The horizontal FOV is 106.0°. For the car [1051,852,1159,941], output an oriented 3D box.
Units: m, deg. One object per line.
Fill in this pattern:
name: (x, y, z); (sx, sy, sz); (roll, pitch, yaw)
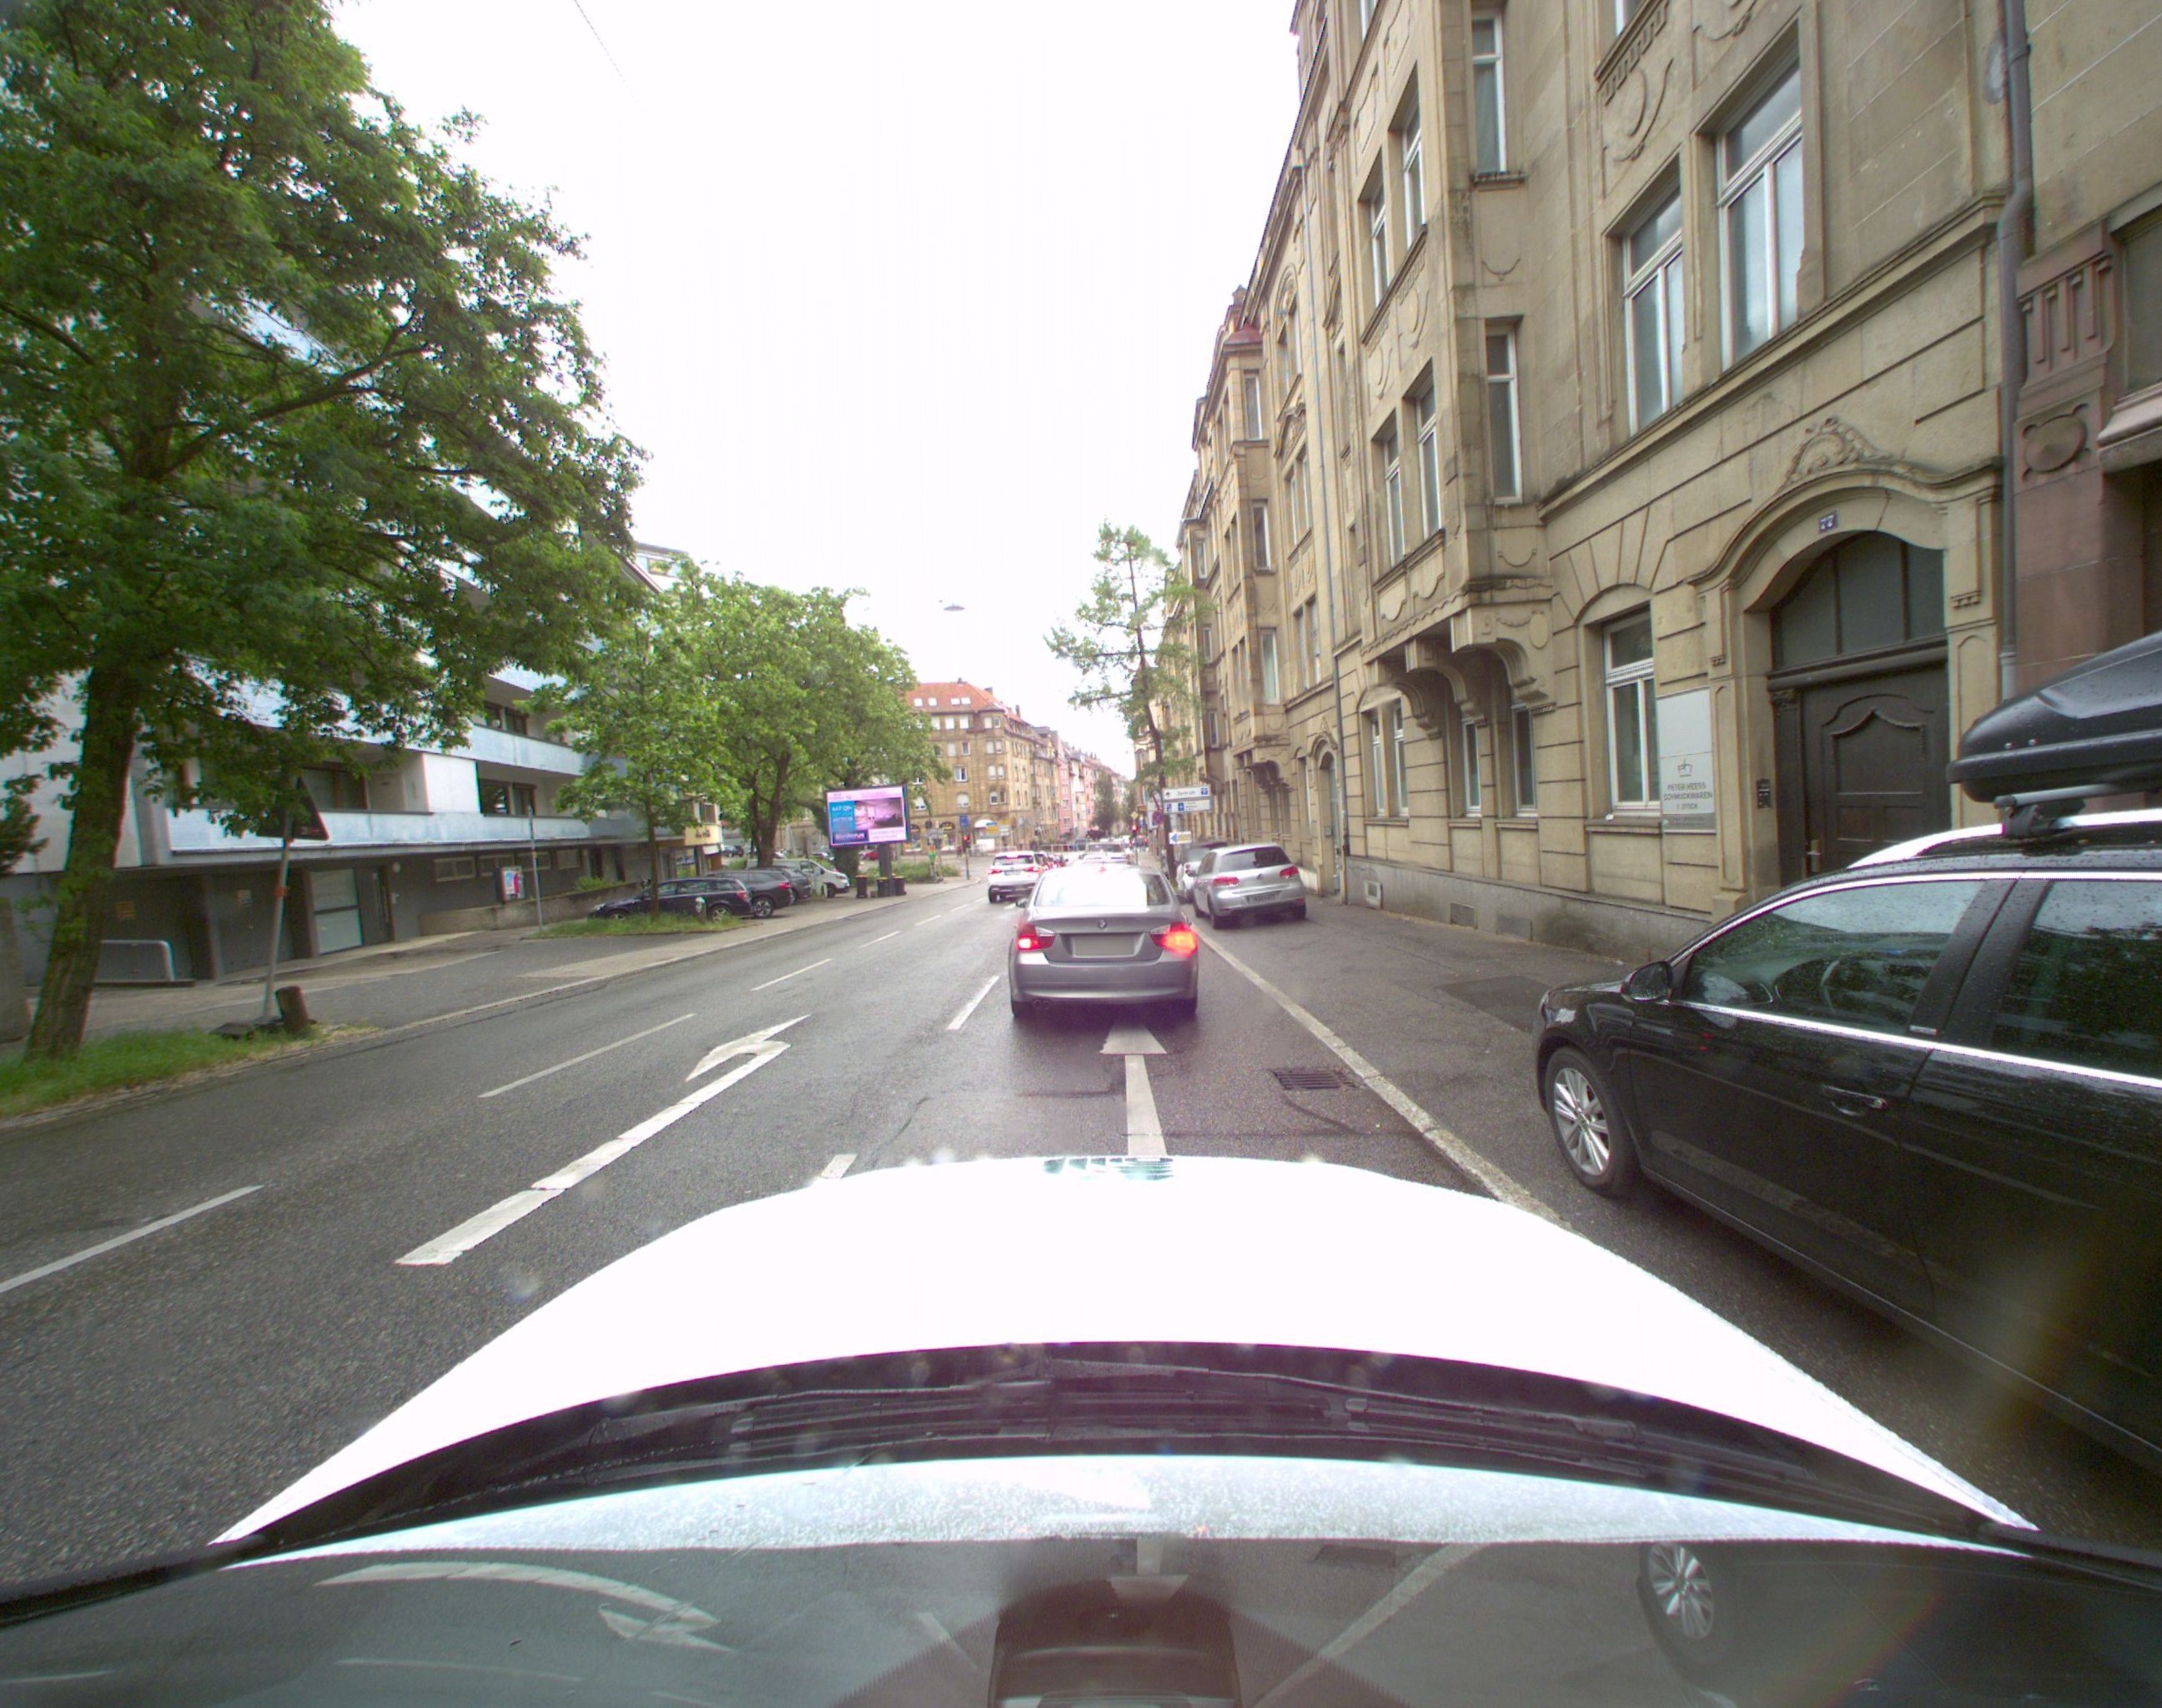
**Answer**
car: (0.501, 0.706, 15.474); (1.752, 1.383, 4.003); (-2, 0, 3)

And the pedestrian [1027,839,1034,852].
pedestrian: (-6.333, -1.040, 101.590); (0.727, 1.577, 0.530); (-3, 0, 10)

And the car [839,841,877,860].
car: (-26.696, -0.443, 97.518); (4.238, 2.101, 2.013); (0, 2, 30)

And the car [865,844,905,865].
car: (-22.086, 0.058, 91.848); (3.982, 2.013, 1.996); (-4, 0, -6)

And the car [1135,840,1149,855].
car: (8.368, -0.891, 112.225); (1.679, 2.013, 4.002); (-4, 0, 2)

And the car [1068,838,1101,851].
car: (0.636, -1.555, 130.238); (5.158, 2.014, 2.699); (0, -1, 1)

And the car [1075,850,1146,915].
car: (0.795, 0.651, 20.980); (1.588, 1.464, 4.003); (-2, 0, 3)

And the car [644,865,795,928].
car: (-11.960, 1.371, 27.277); (4.382, 1.672, 1.842); (-4, 0, -21)

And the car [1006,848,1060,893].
car: (-1.928, 0.637, 33.895); (1.752, 1.707, 4.003); (-2, 0, 3)

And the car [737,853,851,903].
car: (-14.021, 1.146, 40.042); (5.076, 2.105, 1.979); (-3, 0, -19)

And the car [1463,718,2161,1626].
car: (2.780, 0.488, 1.970); (1.753, 1.651, 4.101); (-7, 0, 2)

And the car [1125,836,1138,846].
car: (6.409, -1.609, 102.894); (1.429, 1.174, 3.435); (0, 0, 1)

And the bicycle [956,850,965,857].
bicycle: (-14.394, -0.048, 97.033); (0.570, 0.858, 1.526); (-1, -1, 11)

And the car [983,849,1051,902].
car: (-2.117, 0.686, 27.901); (1.861, 1.625, 4.001); (-2, 0, 1)

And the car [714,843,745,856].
car: (-47.073, -0.583, 109.156); (3.949, 1.689, 1.738); (-1, -1, 29)

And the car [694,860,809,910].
car: (-13.940, 1.286, 34.741); (4.370, 1.784, 1.927); (-3, 0, -19)

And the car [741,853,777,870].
car: (-41.813, 0.928, 105.792); (4.238, 2.101, 2.013); (0, 2, 30)

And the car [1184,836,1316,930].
car: (3.219, 0.501, 16.330); (1.753, 1.451, 4.001); (-7, 0, 1)

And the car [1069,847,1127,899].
car: (0.631, 0.589, 27.487); (1.752, 1.567, 4.003); (-2, 0, 3)

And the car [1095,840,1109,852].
car: (2.735, -1.039, 104.916); (1.709, 1.450, 3.743); (-3, 0, 1)

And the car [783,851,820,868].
car: (-35.291, 0.672, 102.792); (4.238, 2.101, 2.013); (0, 2, 30)

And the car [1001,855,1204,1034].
car: (0.269, 0.748, 8.472); (1.617, 1.383, 3.618); (-2, 0, 3)

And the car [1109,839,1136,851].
car: (5.825, -1.255, 114.226); (1.974, 1.578, 4.025); (-1, -1, 34)

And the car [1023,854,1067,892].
car: (-1.756, 0.908, 40.608); (1.752, 1.707, 4.003); (-2, 0, 3)

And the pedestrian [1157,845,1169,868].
pedestrian: (5.591, 0.160, 55.591); (0.629, 1.508, 0.693); (-7, 0, 1)

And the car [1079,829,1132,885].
car: (1.024, 0.129, 33.454); (1.986, 2.106, 4.002); (-2, 0, 2)

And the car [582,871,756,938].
car: (-12.237, 1.456, 24.547); (4.373, 1.574, 1.930); (-4, 0, -21)

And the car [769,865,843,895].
car: (-15.966, 1.489, 47.371); (3.985, 1.450, 1.758); (-3, 0, -19)

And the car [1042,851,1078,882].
car: (-1.188, 0.698, 47.911); (1.752, 1.707, 4.003); (-2, 0, 3)

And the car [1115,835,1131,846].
car: (6.231, -2.008, 120.759); (1.983, 1.578, 4.008); (0, -1, 7)

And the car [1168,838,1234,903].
car: (3.301, 0.435, 22.745); (1.295, 1.543, 2.977); (-7, 0, 1)

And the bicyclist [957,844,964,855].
bicyclist: (-14.394, -0.532, 97.019); (0.565, 1.273, 0.692); (-1, -1, 13)
